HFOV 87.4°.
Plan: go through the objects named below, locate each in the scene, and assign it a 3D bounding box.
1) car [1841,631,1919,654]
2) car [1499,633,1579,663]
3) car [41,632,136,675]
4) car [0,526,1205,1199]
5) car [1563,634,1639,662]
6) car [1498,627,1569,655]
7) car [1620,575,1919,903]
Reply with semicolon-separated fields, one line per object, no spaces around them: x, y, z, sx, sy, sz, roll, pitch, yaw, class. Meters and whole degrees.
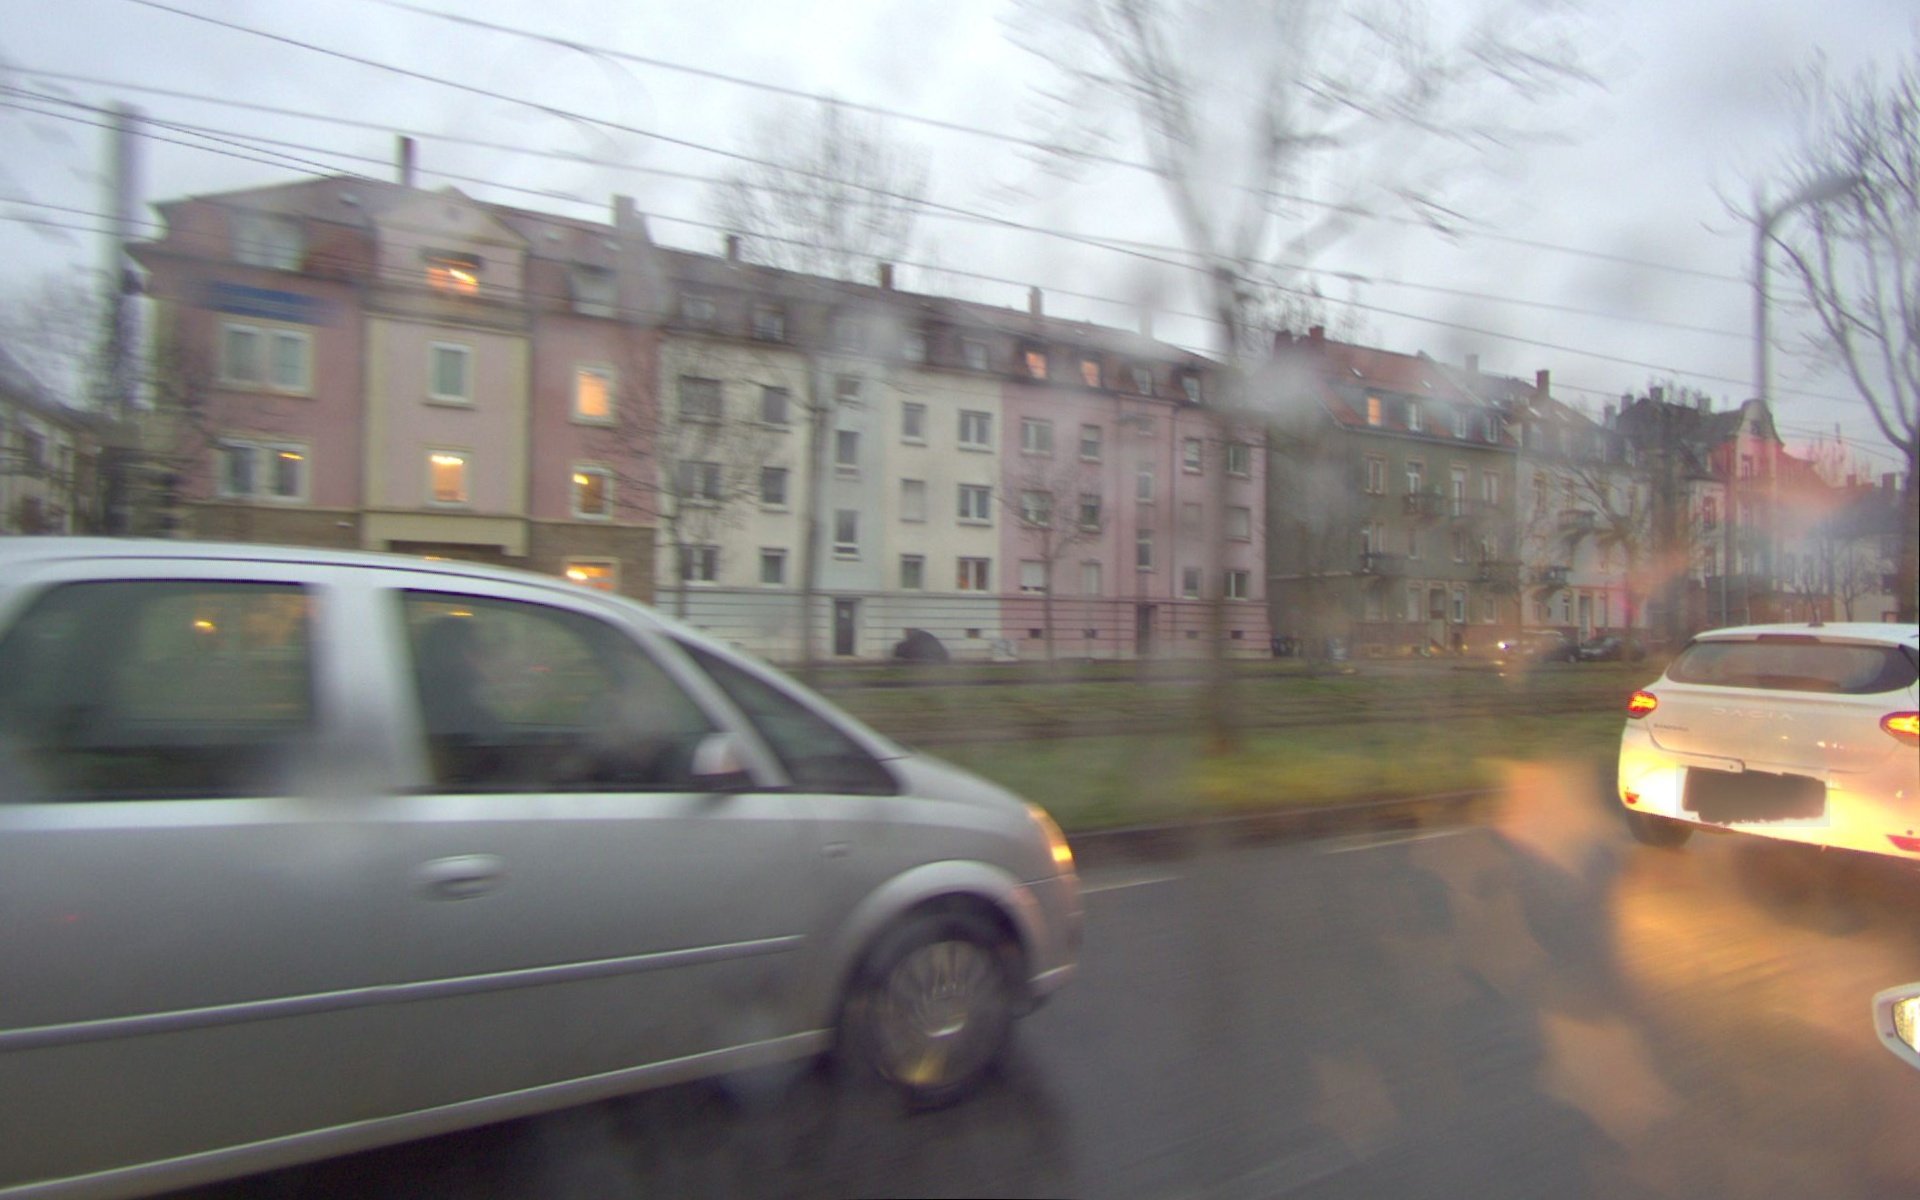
56.423;2.605;61.670;1.745;1.372;3.559;-1;-2;7;car
28.041;2.297;48.644;3.512;1.372;1.769;1;-2;-28;car
-31.842;1.905;36.826;1.978;1.439;3.966;1;-2;-32;car
-1.362;0.699;3.153;4.004;1.621;1.801;1;-1;-29;car
32.576;2.436;51.041;3.512;1.372;1.769;1;-2;-28;car
31.637;2.247;55.410;3.512;1.520;1.769;1;-2;-28;car
6.226;0.729;6.452;4.004;1.621;1.665;1;-1;-29;car
